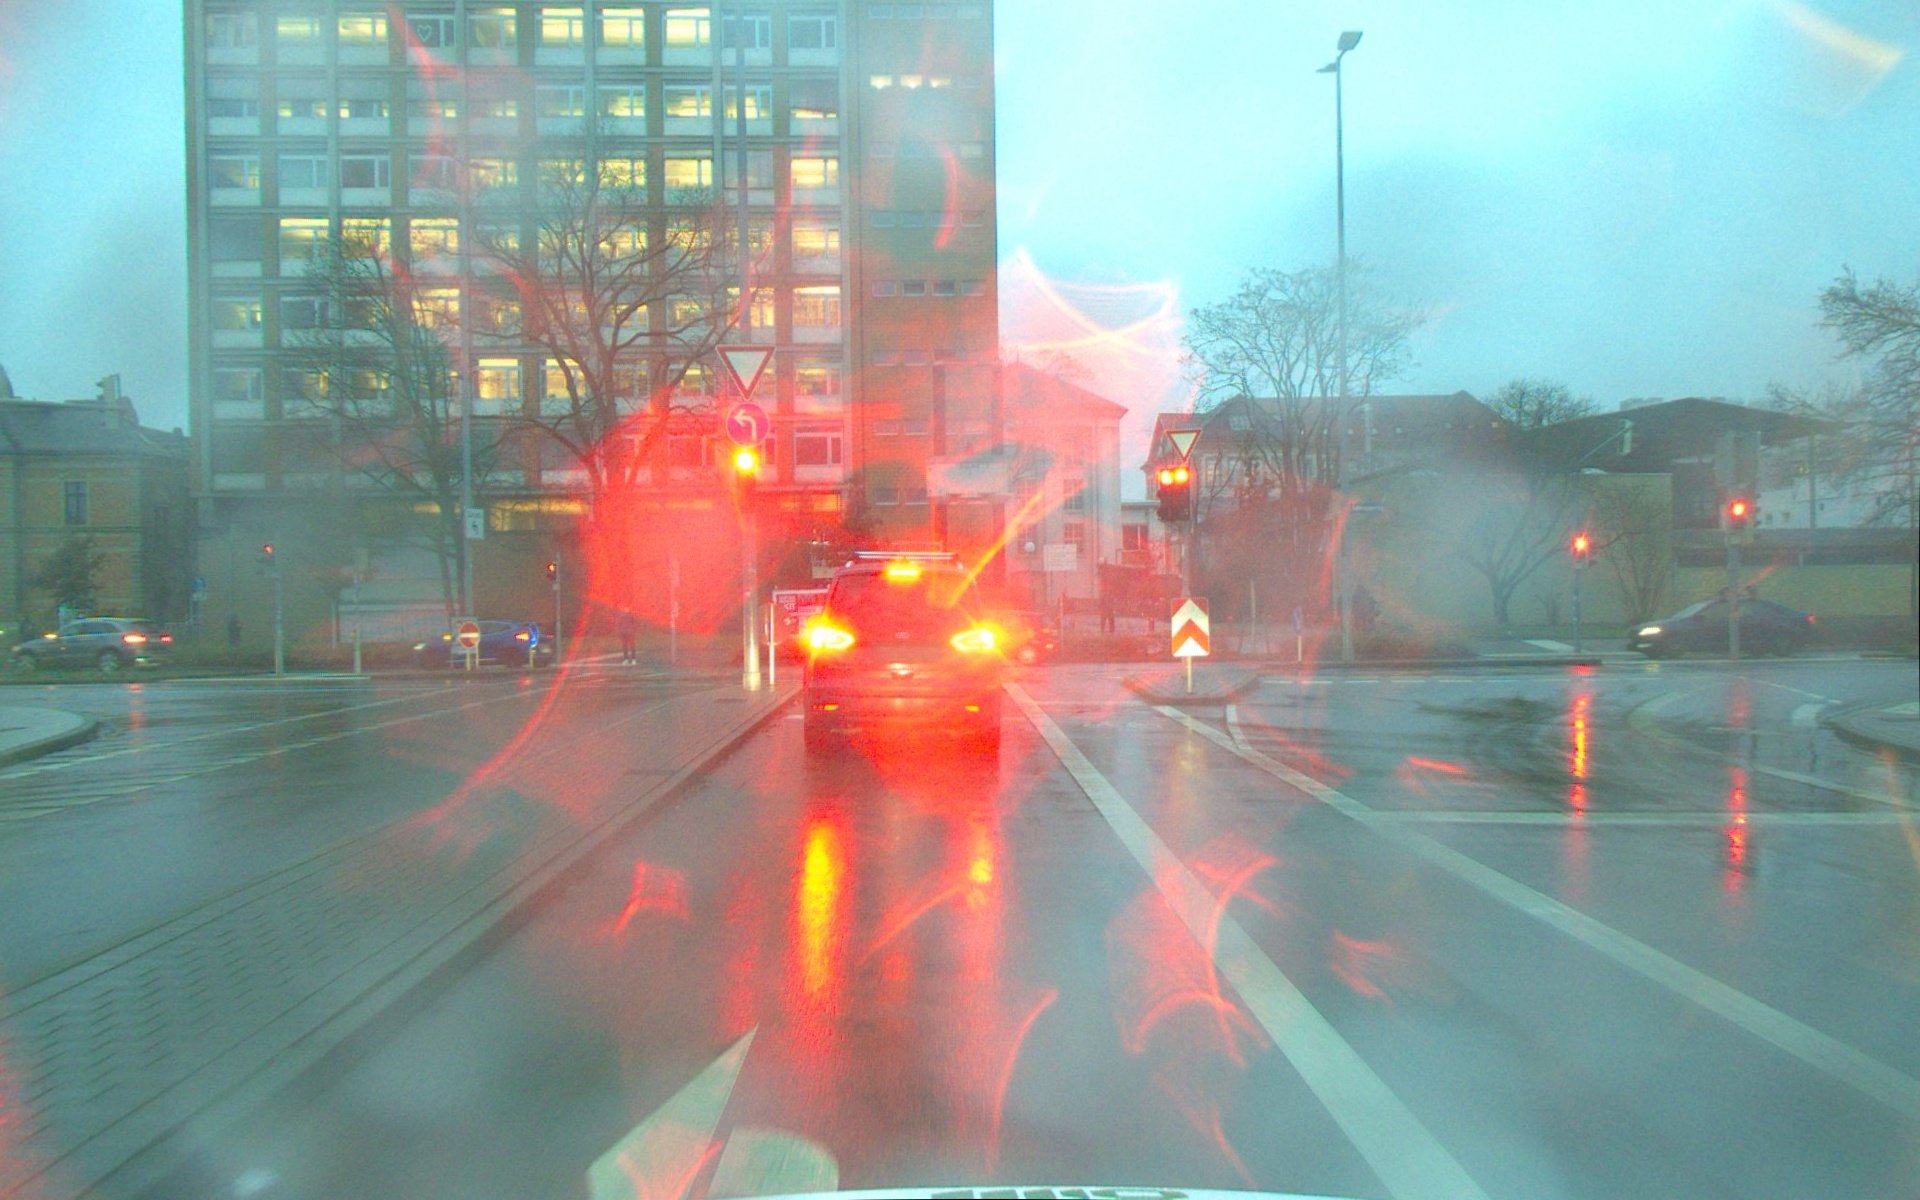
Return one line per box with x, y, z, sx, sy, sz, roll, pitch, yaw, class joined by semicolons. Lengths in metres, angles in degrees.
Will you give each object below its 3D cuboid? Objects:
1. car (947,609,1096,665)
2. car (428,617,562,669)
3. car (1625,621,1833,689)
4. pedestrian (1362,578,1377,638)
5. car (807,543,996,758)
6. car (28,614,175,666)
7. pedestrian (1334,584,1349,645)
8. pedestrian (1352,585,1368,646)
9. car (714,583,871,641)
1.641;0.968;43.475;3.708;1.423;1.566;0;-2;11;car
-13.169;1.233;46.885;3.338;1.423;1.470;0;-2;14;car
18.983;1.347;41.023;4.338;1.608;1.969;0;-2;12;car
12.816;0.261;51.741;0.428;1.871;0.460;0;-2;17;pedestrian
-0.540;0.417;16.304;1.614;1.850;3.999;1;1;-1;car
-25.624;1.191;49.406;3.832;1.512;1.470;0;-2;13;car
11.960;0.458;51.781;0.428;1.871;0.460;0;-2;17;pedestrian
12.282;0.476;50.759;0.448;1.871;0.439;0;-2;16;pedestrian
-6.100;0.443;60.591;5.430;2.060;2.001;0;-2;5;car
